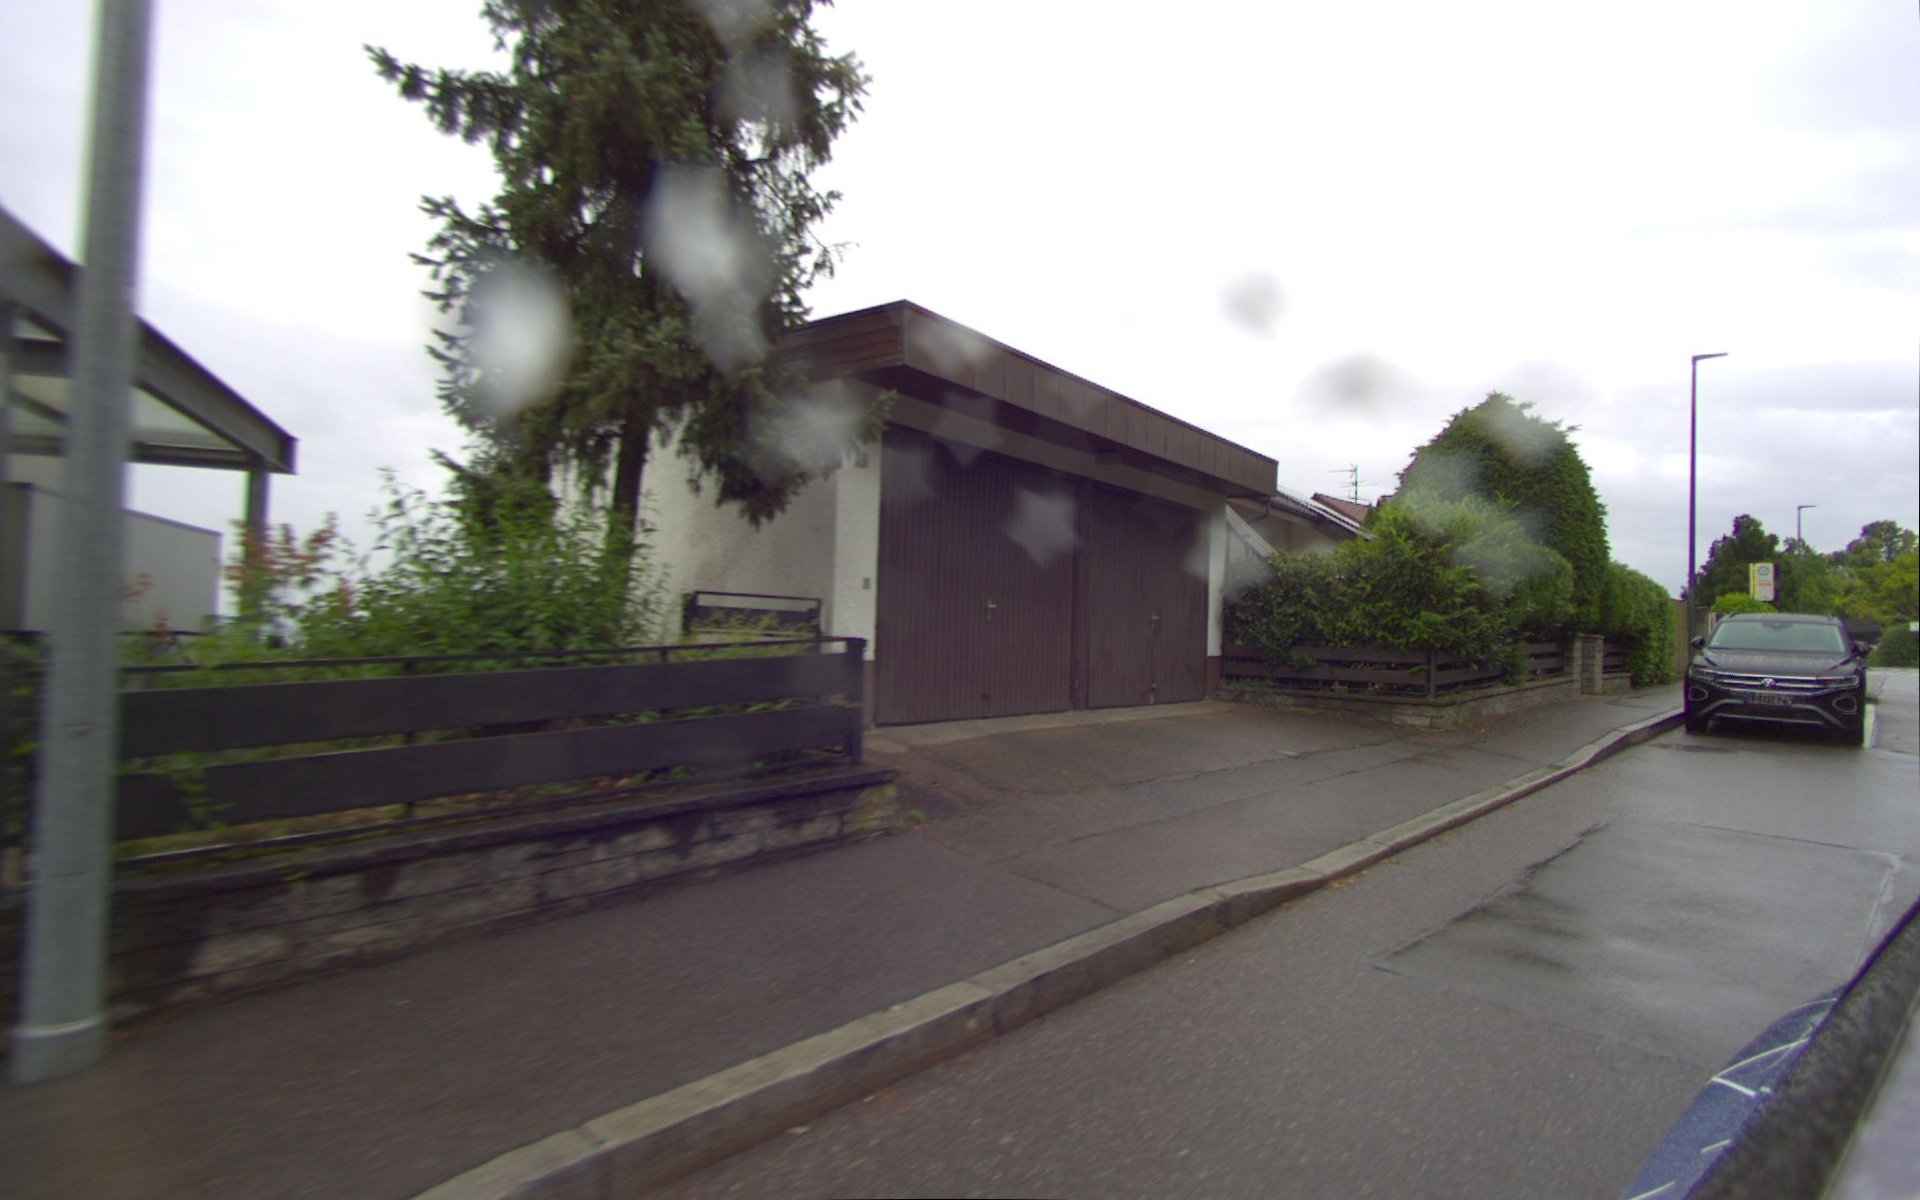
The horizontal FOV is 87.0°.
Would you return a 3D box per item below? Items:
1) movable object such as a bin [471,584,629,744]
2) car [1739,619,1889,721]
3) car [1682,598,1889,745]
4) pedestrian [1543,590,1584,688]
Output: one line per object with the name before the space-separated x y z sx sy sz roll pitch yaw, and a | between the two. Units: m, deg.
movable object such as a bin | -2.921 0.456 7.230 0.793 1.054 0.767 -5 -6 41
car | 14.538 1.119 17.147 1.755 1.481 4.233 0 -2 43
car | 11.125 0.860 13.510 1.875 1.612 4.409 0 -2 43
pedestrian | 10.398 0.662 17.442 0.535 1.655 0.498 -1 -3 42
